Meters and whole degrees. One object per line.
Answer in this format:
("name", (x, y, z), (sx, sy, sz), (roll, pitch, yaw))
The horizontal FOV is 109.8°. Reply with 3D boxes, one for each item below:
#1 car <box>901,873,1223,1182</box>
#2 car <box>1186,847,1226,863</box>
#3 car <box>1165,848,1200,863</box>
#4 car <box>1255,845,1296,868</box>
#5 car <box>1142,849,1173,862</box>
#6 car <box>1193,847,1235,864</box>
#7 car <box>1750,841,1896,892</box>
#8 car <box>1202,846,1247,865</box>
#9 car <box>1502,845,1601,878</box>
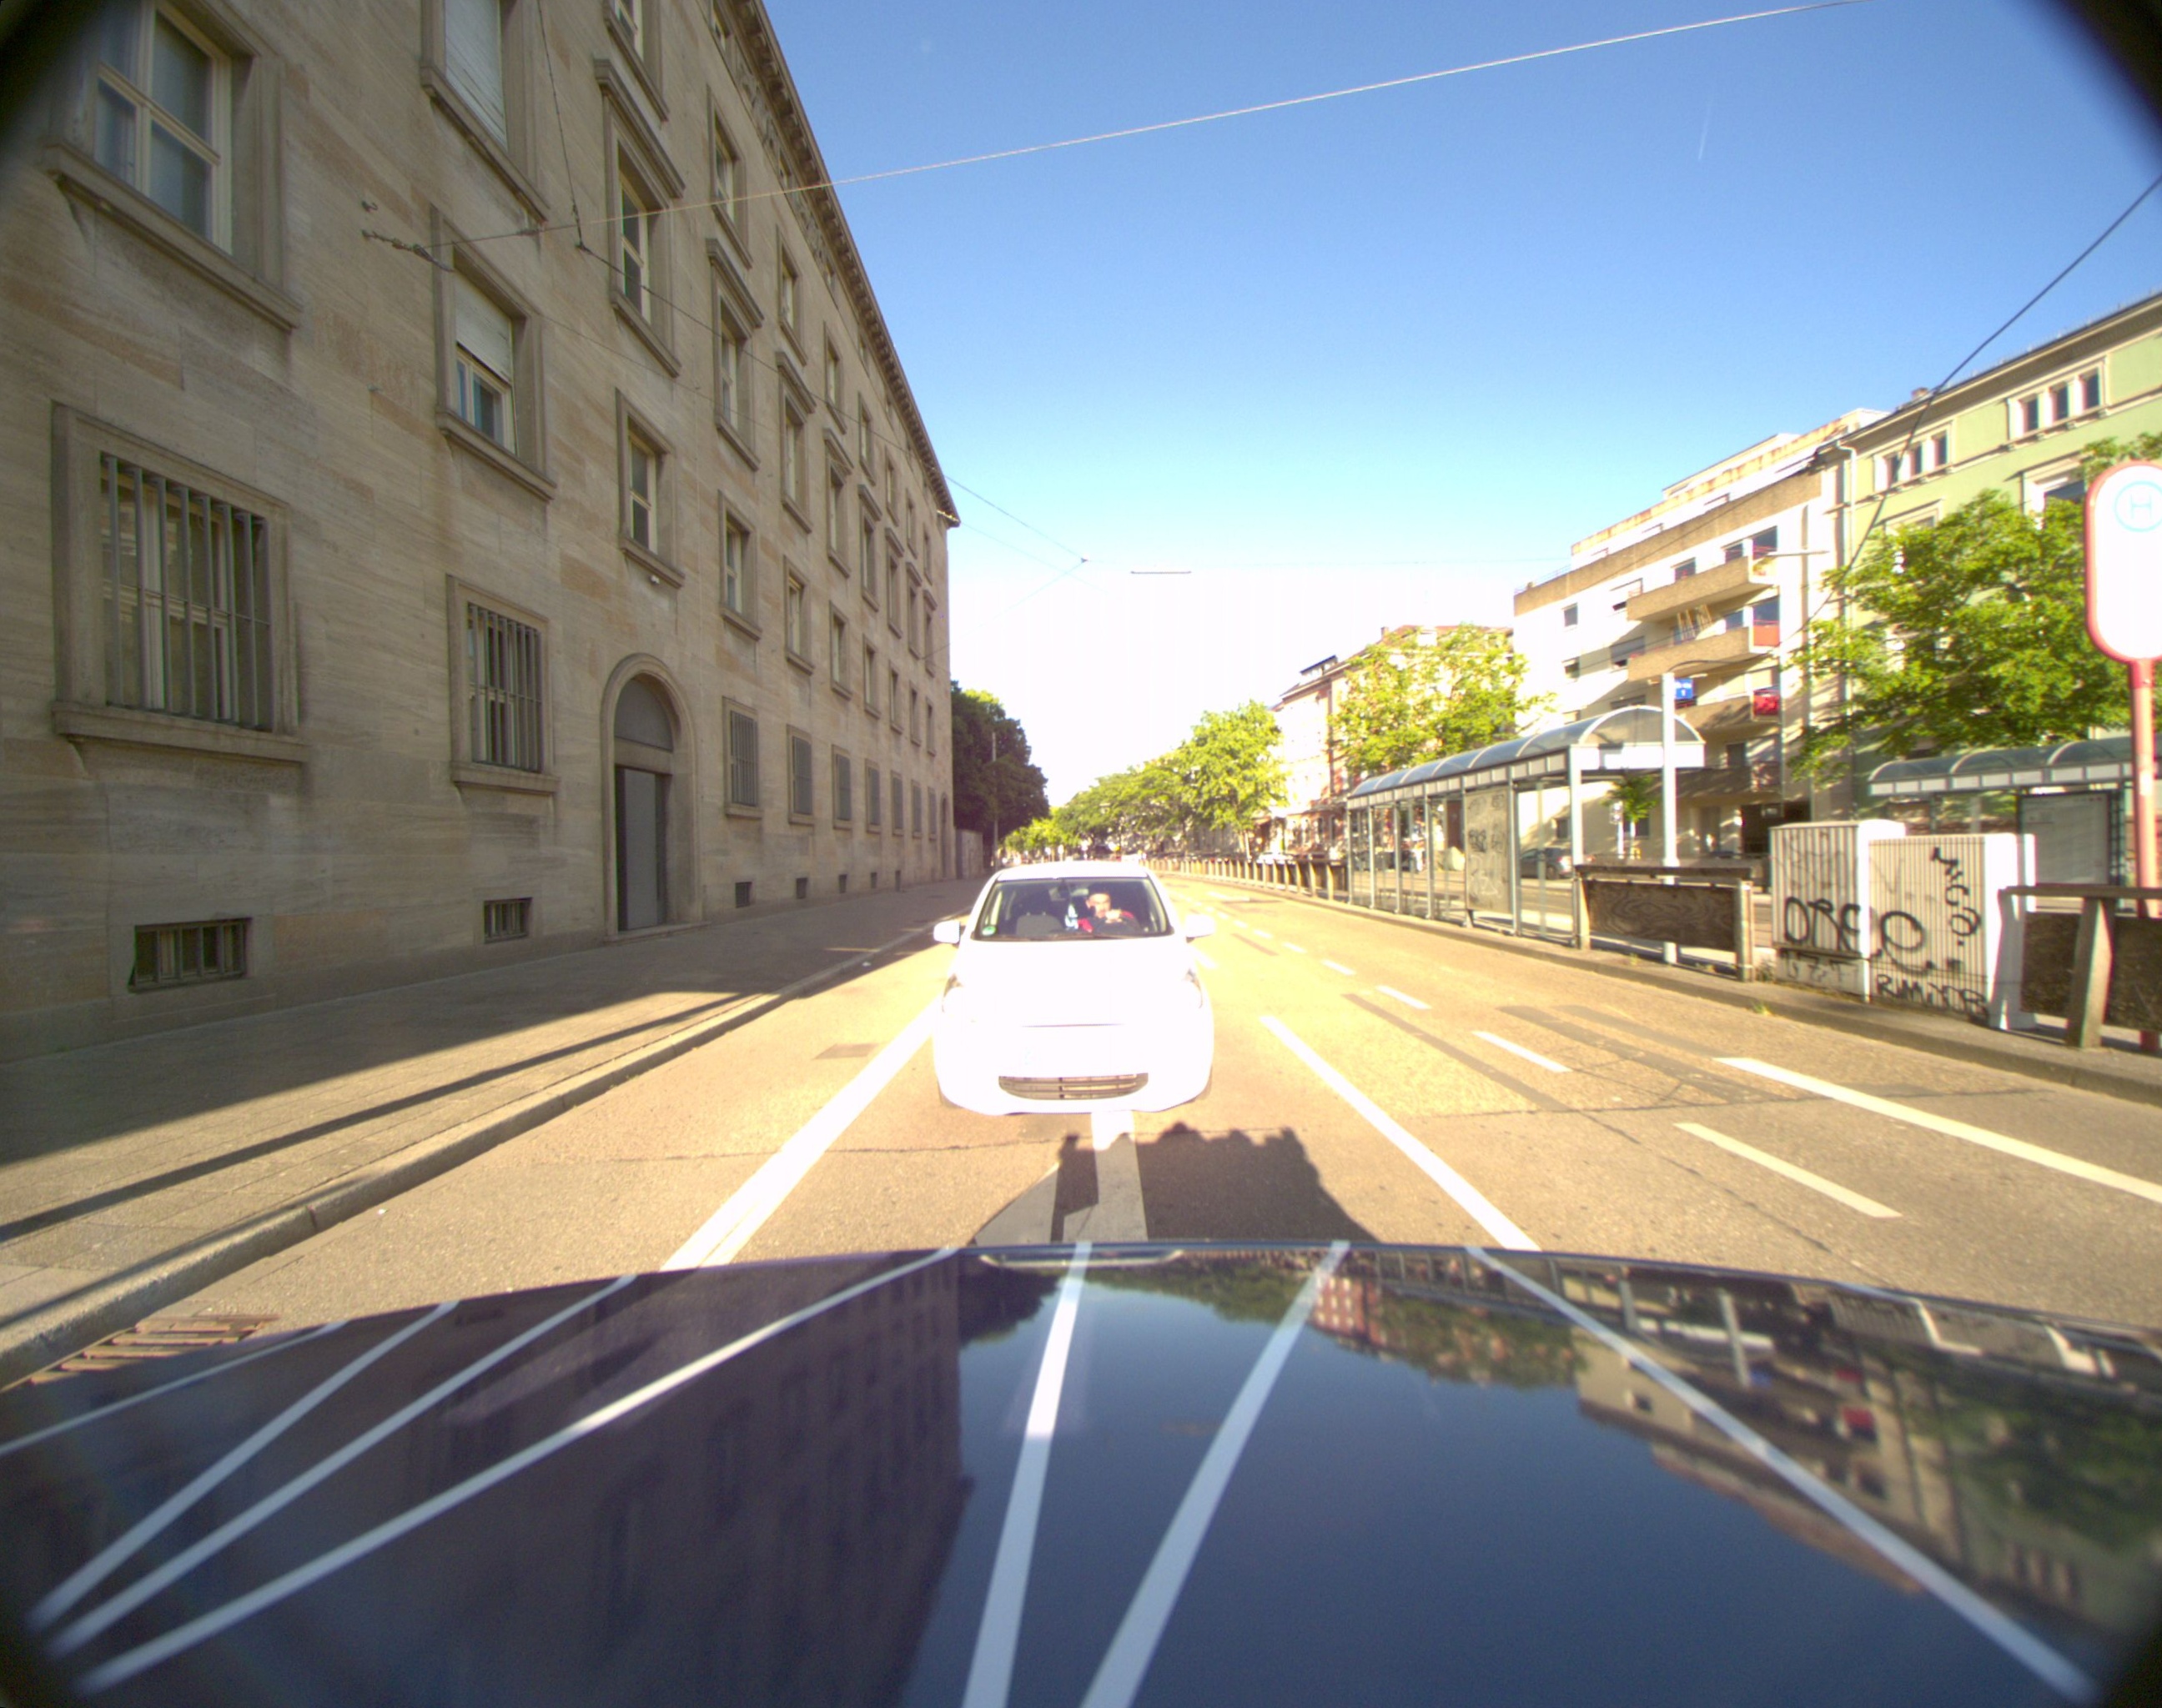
("car", (-0.070, 0.930, 5.696), (1.612, 1.450, 3.667), (-1, 0, 1))
("car", (13.176, 0.096, 80.534), (3.996, 1.674, 2.000), (-1, 0, 4))
("car", (11.455, 0.156, 86.095), (3.864, 1.583, 2.001), (-1, 0, 5))
("car", (16.321, 0.173, 63.682), (1.994, 1.713, 4.007), (0, 2, 34))
("car", (9.584, 0.143, 95.721), (3.864, 1.583, 2.001), (-1, 0, 4))
("car", (13.368, 0.124, 76.731), (3.996, 1.674, 2.000), (-1, 0, 4))
("car", (23.946, 0.376, 24.554), (3.796, 1.526, 1.772), (-1, 0, -17))
("car", (13.654, 0.139, 72.597), (3.996, 1.674, 2.000), (-1, 0, 4))
("car", (20.858, 0.324, 33.838), (1.615, 1.387, 3.516), (-1, 0, -19))
